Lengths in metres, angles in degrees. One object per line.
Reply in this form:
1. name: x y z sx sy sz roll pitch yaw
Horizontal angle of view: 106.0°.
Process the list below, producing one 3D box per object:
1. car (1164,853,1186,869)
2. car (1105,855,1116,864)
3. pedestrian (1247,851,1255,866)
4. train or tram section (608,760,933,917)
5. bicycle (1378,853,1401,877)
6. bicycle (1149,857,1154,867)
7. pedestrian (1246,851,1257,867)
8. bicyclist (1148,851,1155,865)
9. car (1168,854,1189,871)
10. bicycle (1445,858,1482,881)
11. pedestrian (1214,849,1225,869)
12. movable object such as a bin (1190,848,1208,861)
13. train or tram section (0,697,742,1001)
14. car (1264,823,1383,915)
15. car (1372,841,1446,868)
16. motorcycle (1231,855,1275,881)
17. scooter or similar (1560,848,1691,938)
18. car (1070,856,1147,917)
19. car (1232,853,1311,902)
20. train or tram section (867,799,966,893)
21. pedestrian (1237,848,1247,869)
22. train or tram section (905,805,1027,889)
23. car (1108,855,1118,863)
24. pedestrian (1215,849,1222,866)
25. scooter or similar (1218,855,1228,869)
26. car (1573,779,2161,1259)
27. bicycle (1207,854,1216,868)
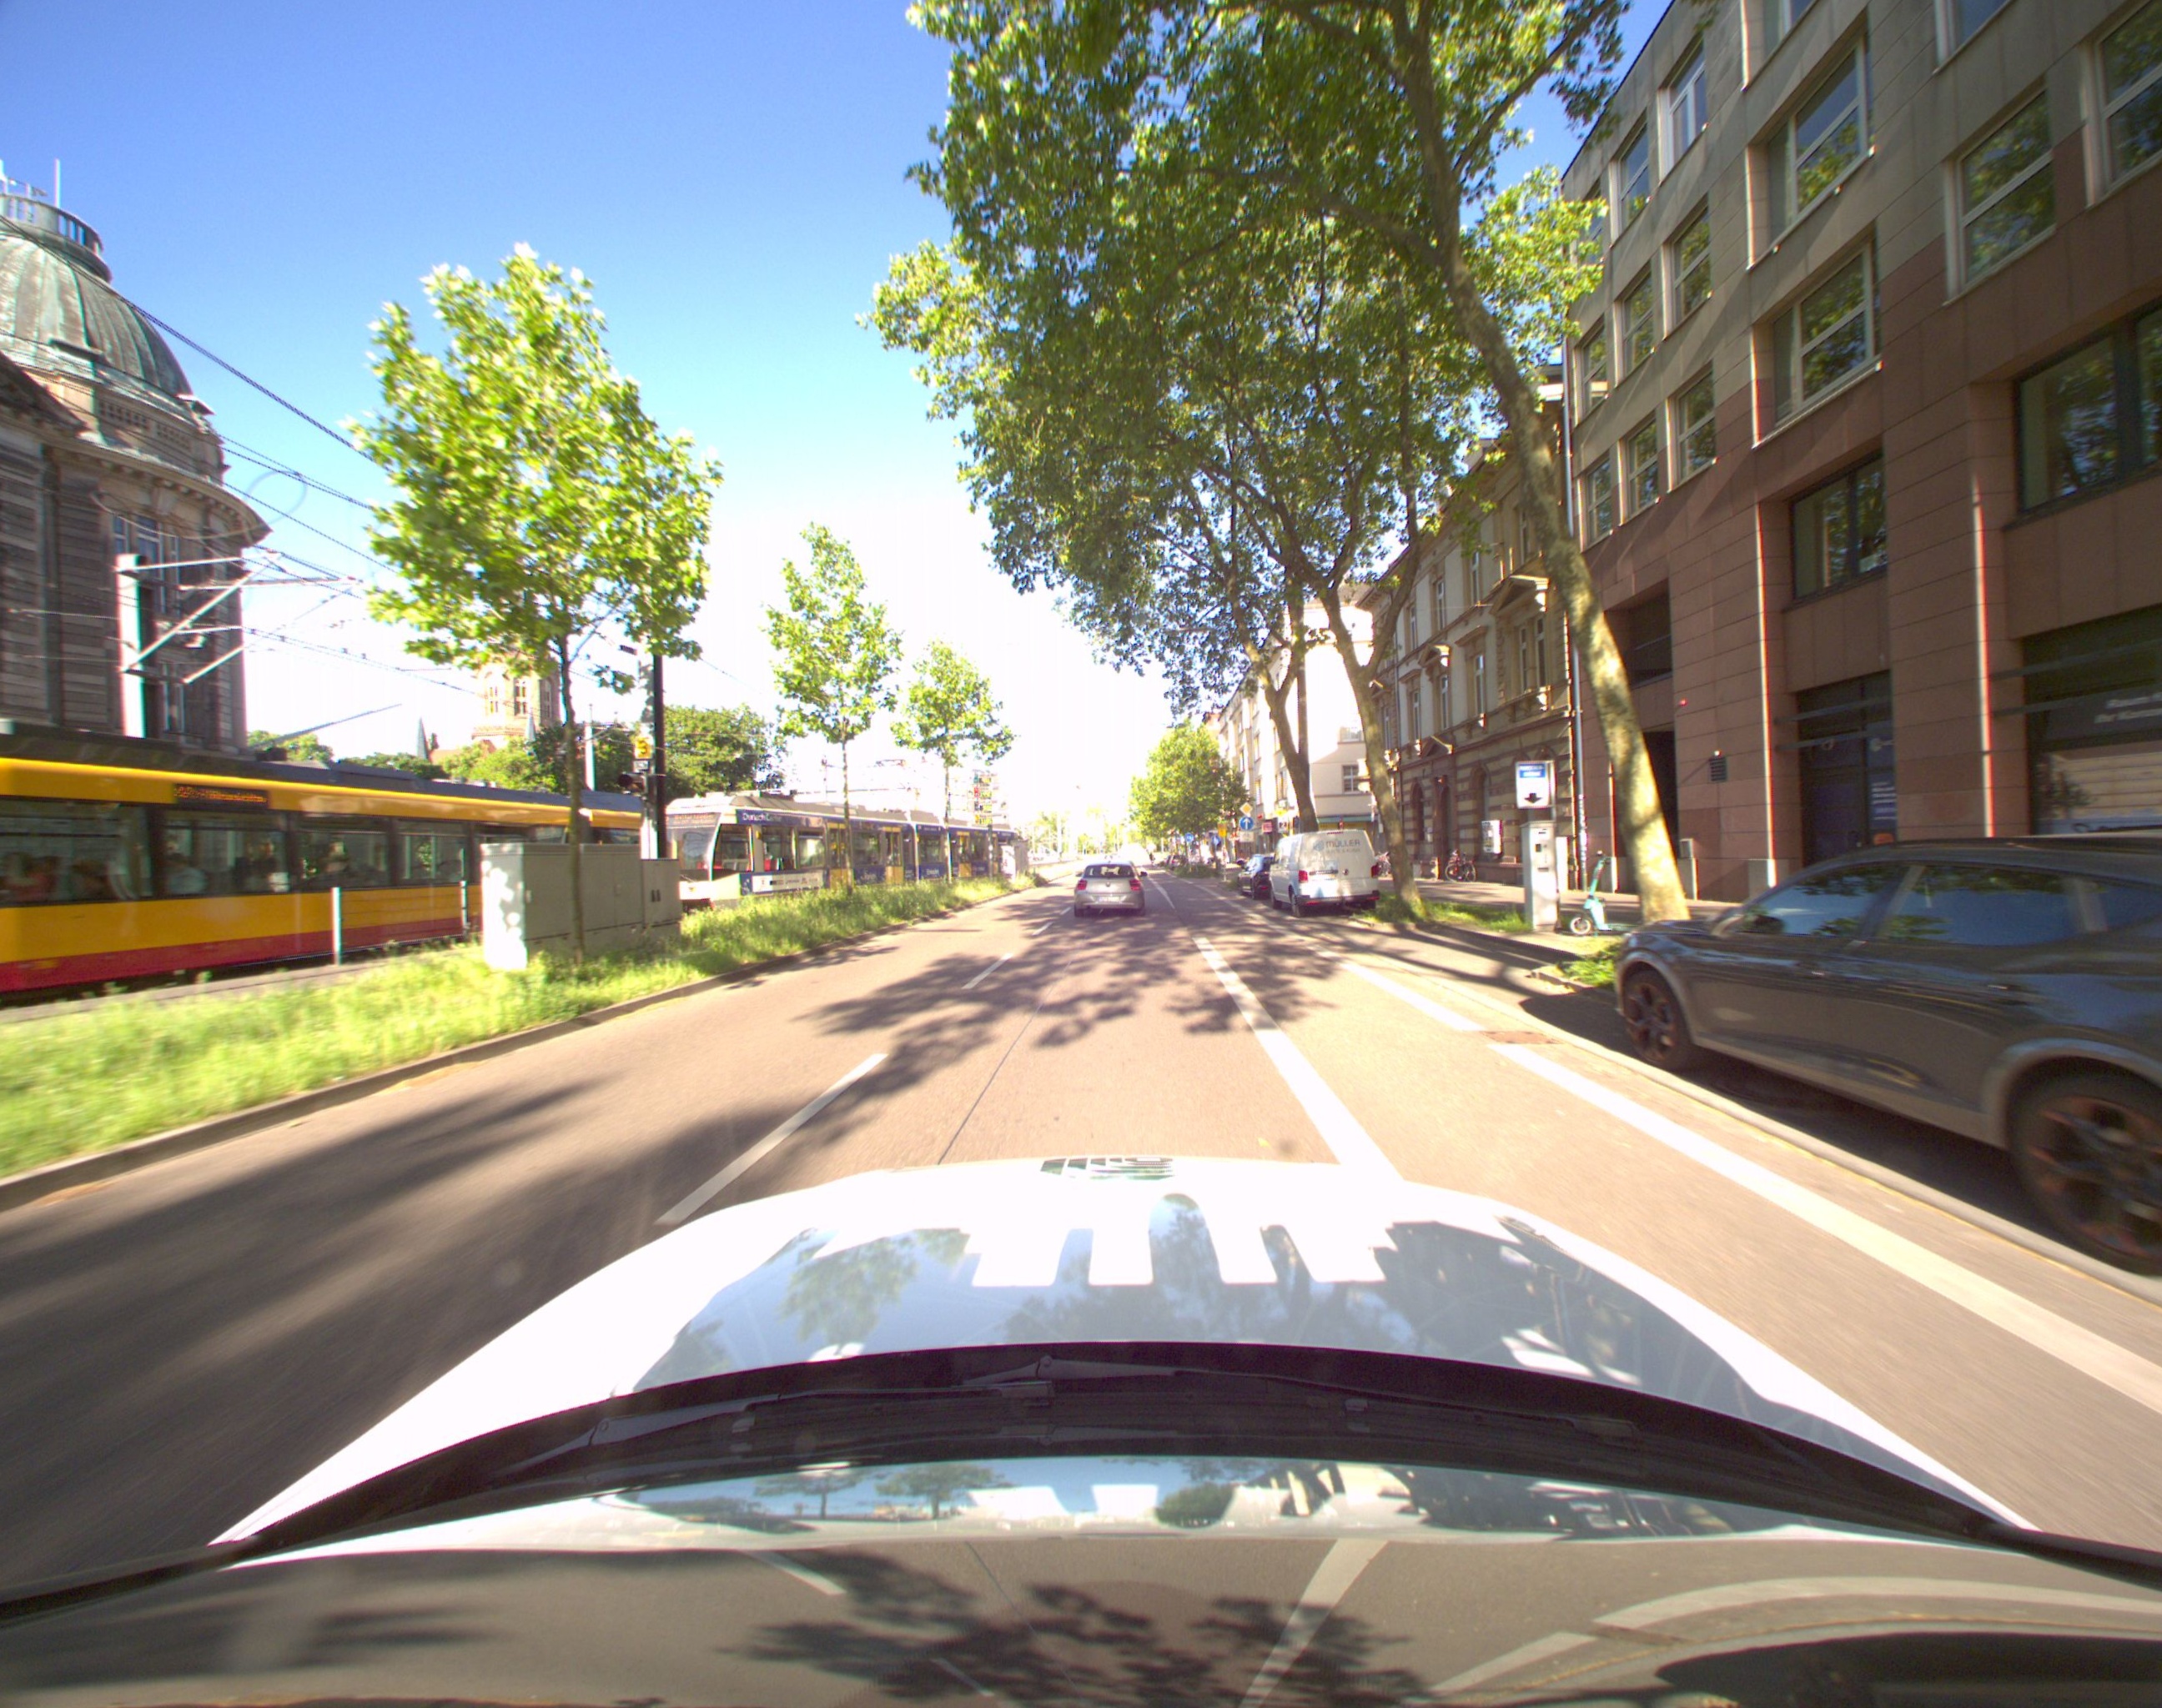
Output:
1. car: 10.011 0.727 86.705 2.030 1.509 4.598 -2 0 3
2. car: 4.883 0.896 135.160 1.720 1.470 4.411 -1 0 1
3. pedestrian: 15.032 0.410 72.016 0.533 1.332 0.821 -3 -1 4
4. train or tram section: -8.968 -0.347 27.047 2.910 3.812 14.316 0 0 11
5. bicycle: 13.675 0.480 36.153 0.412 0.997 1.884 -1 0 3
6. bicycle: 8.156 0.952 94.648 0.497 1.088 1.999 0 0 4
7. pedestrian: 14.865 0.421 71.140 0.781 1.369 0.858 -3 -1 4
8. bicyclist: 8.151 0.476 94.695 0.782 1.531 0.896 0 0 3
9. car: 9.482 0.793 79.124 1.687 1.502 3.805 -4 0 3
10. bicycle: 13.470 0.536 28.708 0.546 0.773 1.664 -4 0 3
11. pedestrian: 12.492 0.439 73.482 0.856 1.705 0.917 -2 -1 1
12. movable object such as a bin: 16.744 0.050 115.837 1.940 1.843 3.477 -2 1 -2
13. train or tram section: -13.556 -0.060 17.503 2.952 3.483 21.228 -1 0 2
14. car: 5.872 0.343 20.329 1.848 2.014 4.728 0 0 4
15. car: 20.153 0.034 50.114 3.918 1.474 1.669 2 0 7
16. motorcycle: 8.026 0.657 38.090 1.943 1.231 0.515 0 -1 0
17. scooter or similar: 7.880 0.556 11.823 1.534 1.237 0.449 -2 0 4
18. car: 0.802 0.790 21.581 1.790 1.415 4.004 -2 0 4
19. car: 6.352 0.725 27.621 1.811 1.515 4.711 0 0 3
20. train or tram section: -7.150 -0.327 35.946 2.935 3.897 3.879 0 0 12
21. pedestrian: 12.535 0.357 63.447 0.679 1.621 0.562 -1 -1 1
22. train or tram section: -5.723 -0.301 43.124 2.933 3.897 10.836 0 0 11
23. car: 5.593 0.905 143.258 1.637 1.421 4.004 -1 0 4
24. pedestrian: 13.908 0.368 82.465 0.555 1.711 0.771 -2 0 3
25. scooter or similar: 12.598 0.712 72.400 0.742 1.171 0.849 -2 0 0
26. car: 4.497 0.544 4.181 1.660 1.570 4.286 0 0 5
27. bicycle: 11.380 0.613 71.168 0.382 1.207 1.882 -2 0 19
